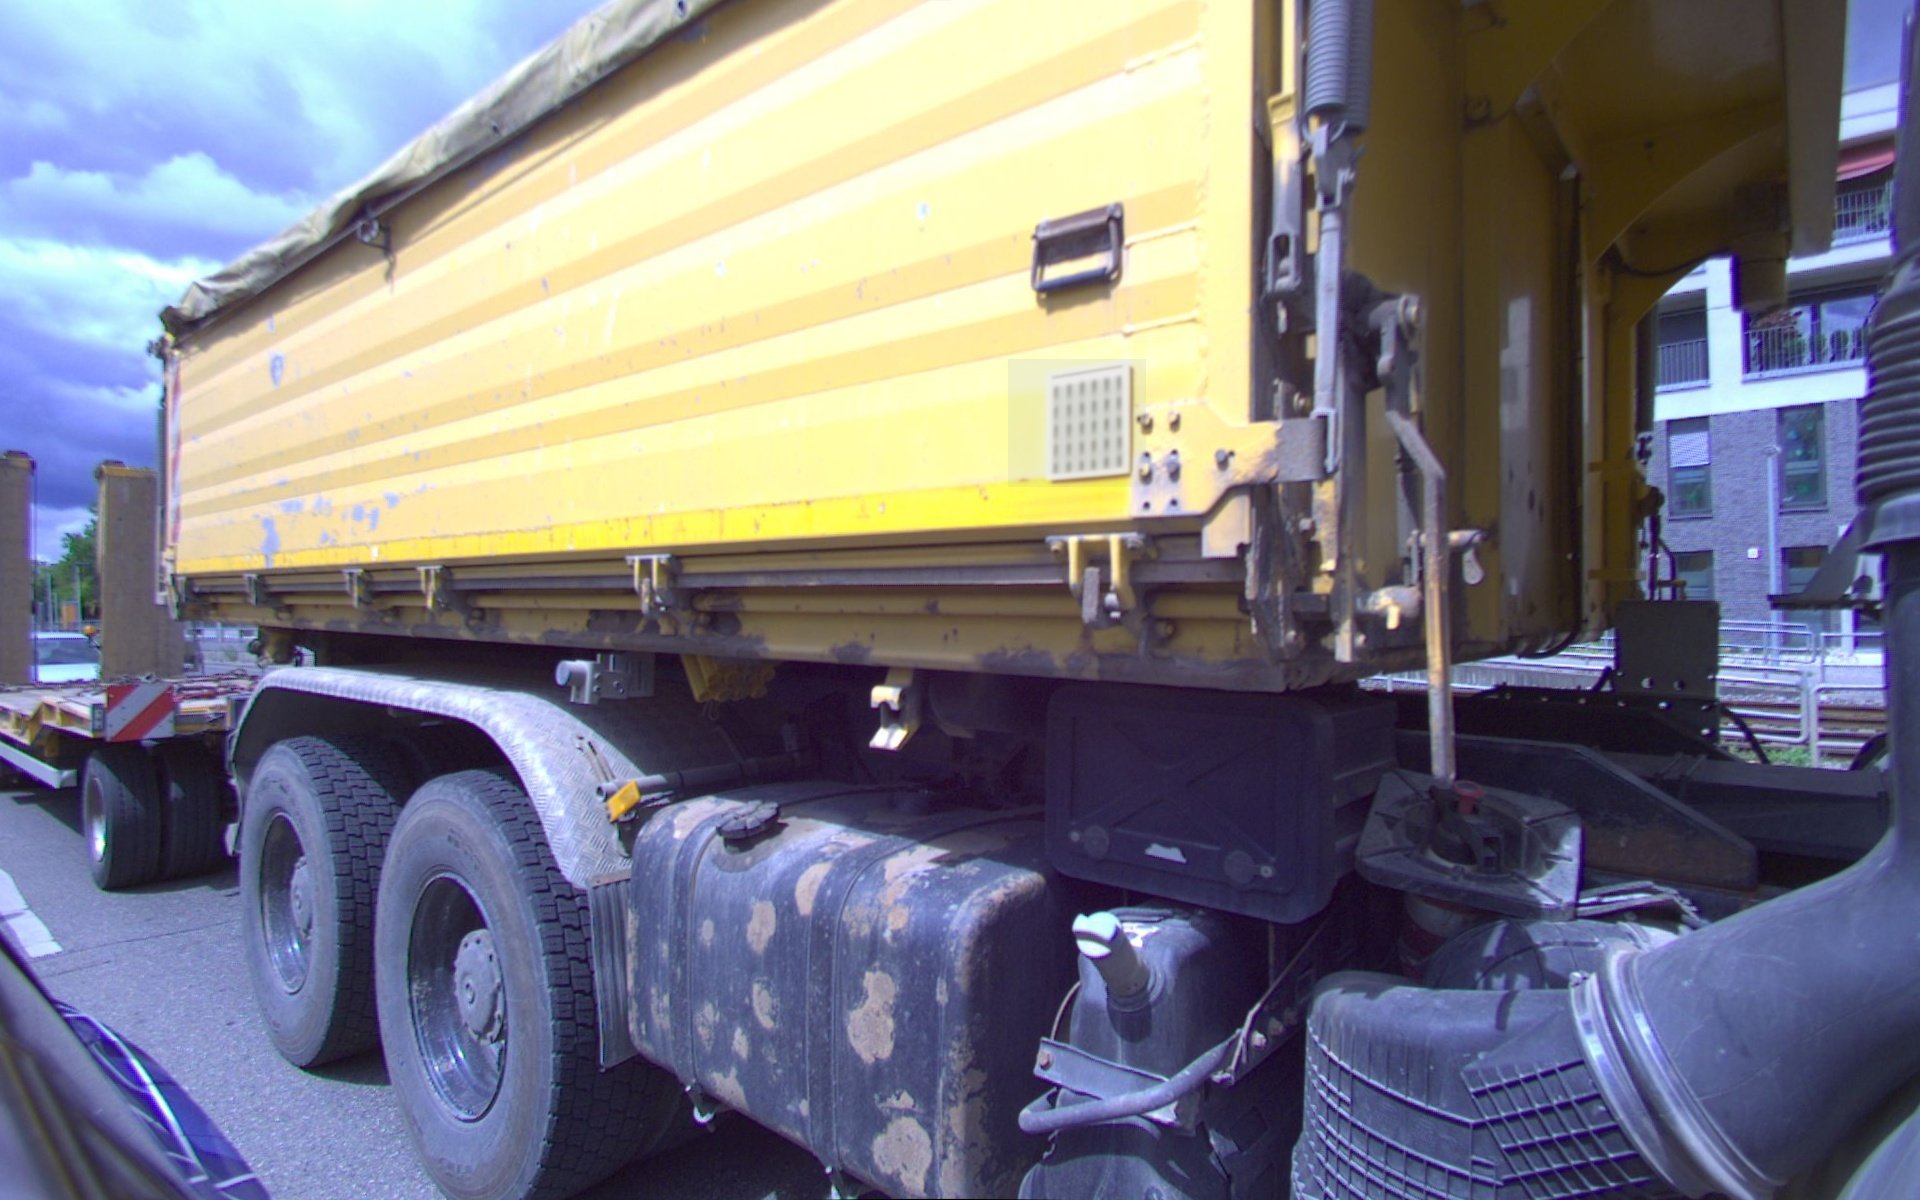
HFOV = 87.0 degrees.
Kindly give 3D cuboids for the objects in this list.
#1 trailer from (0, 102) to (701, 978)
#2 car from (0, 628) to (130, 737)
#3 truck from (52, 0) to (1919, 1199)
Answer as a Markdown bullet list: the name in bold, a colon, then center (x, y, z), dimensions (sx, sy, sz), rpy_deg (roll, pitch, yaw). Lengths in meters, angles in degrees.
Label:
- **trailer**: center (-6.861, -0.136, 9.012), dimensions (10.957, 3.726, 3.018), rpy_deg (-2, -1, 40)
- **car**: center (-14.057, 1.176, 15.298), dimensions (3.784, 1.427, 1.761), rpy_deg (-2, -1, 41)
- **truck**: center (0.149, -0.221, 2.905), dimensions (7.999, 3.420, 3.019), rpy_deg (-2, -1, 40)
